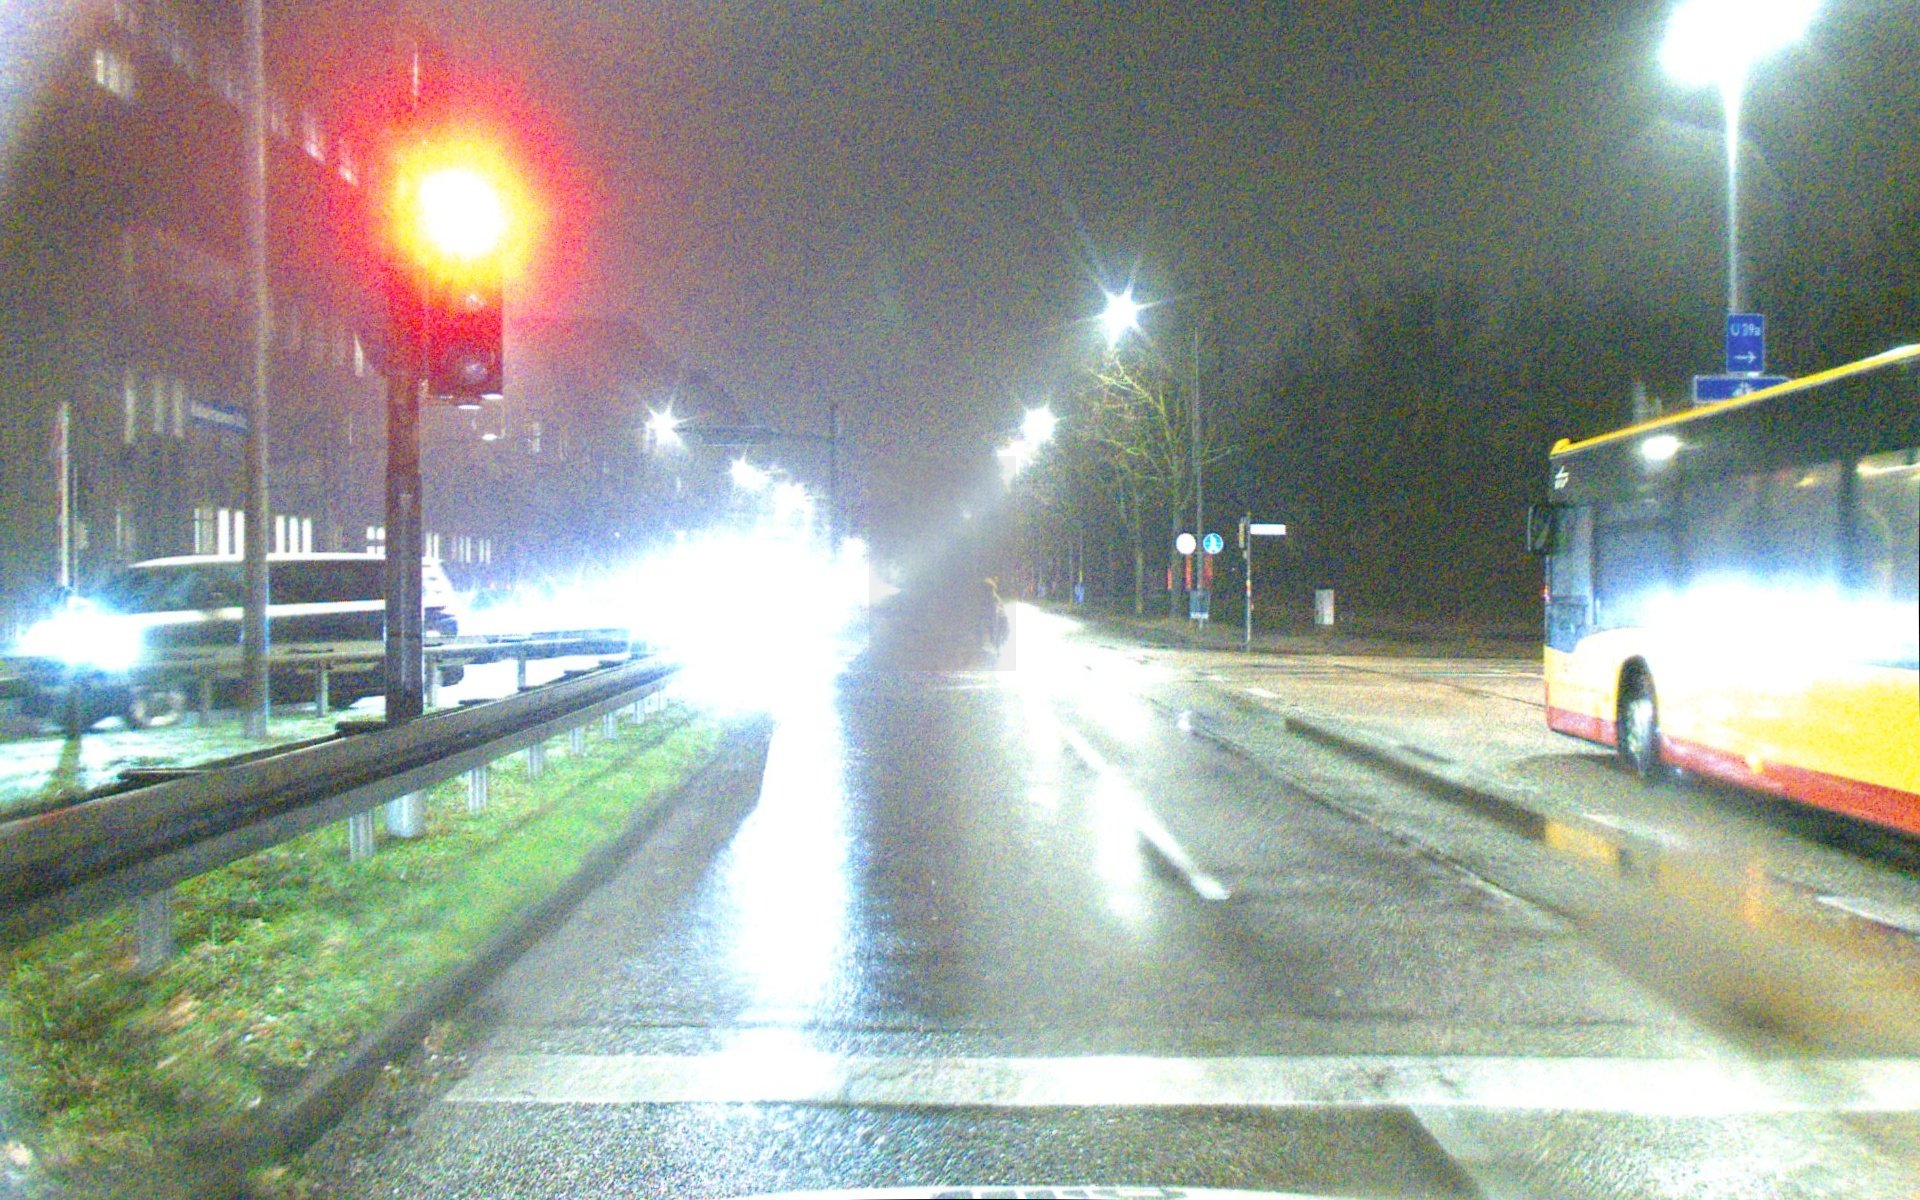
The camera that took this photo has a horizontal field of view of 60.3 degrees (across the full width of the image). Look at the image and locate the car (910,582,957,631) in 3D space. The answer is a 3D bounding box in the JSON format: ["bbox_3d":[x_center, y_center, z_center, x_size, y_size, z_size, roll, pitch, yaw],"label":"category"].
[{"bbox_3d":[-1.249,0.297,76.557,2.092,2.182,4.927,1,0,-1],"label":"car"}]

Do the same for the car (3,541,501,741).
[{"bbox_3d":[-8.080,0.396,19.381,1.961,2.019,5.088,0,0,37],"label":"car"}]

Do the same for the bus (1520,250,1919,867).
[{"bbox_3d":[6.469,-0.217,11.034,2.711,3.178,9.767,1,0,4],"label":"bus"}]

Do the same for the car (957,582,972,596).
[{"bbox_3d":[0.580,-1.477,218.990,1.953,1.790,3.999,1,0,-1],"label":"car"}]
